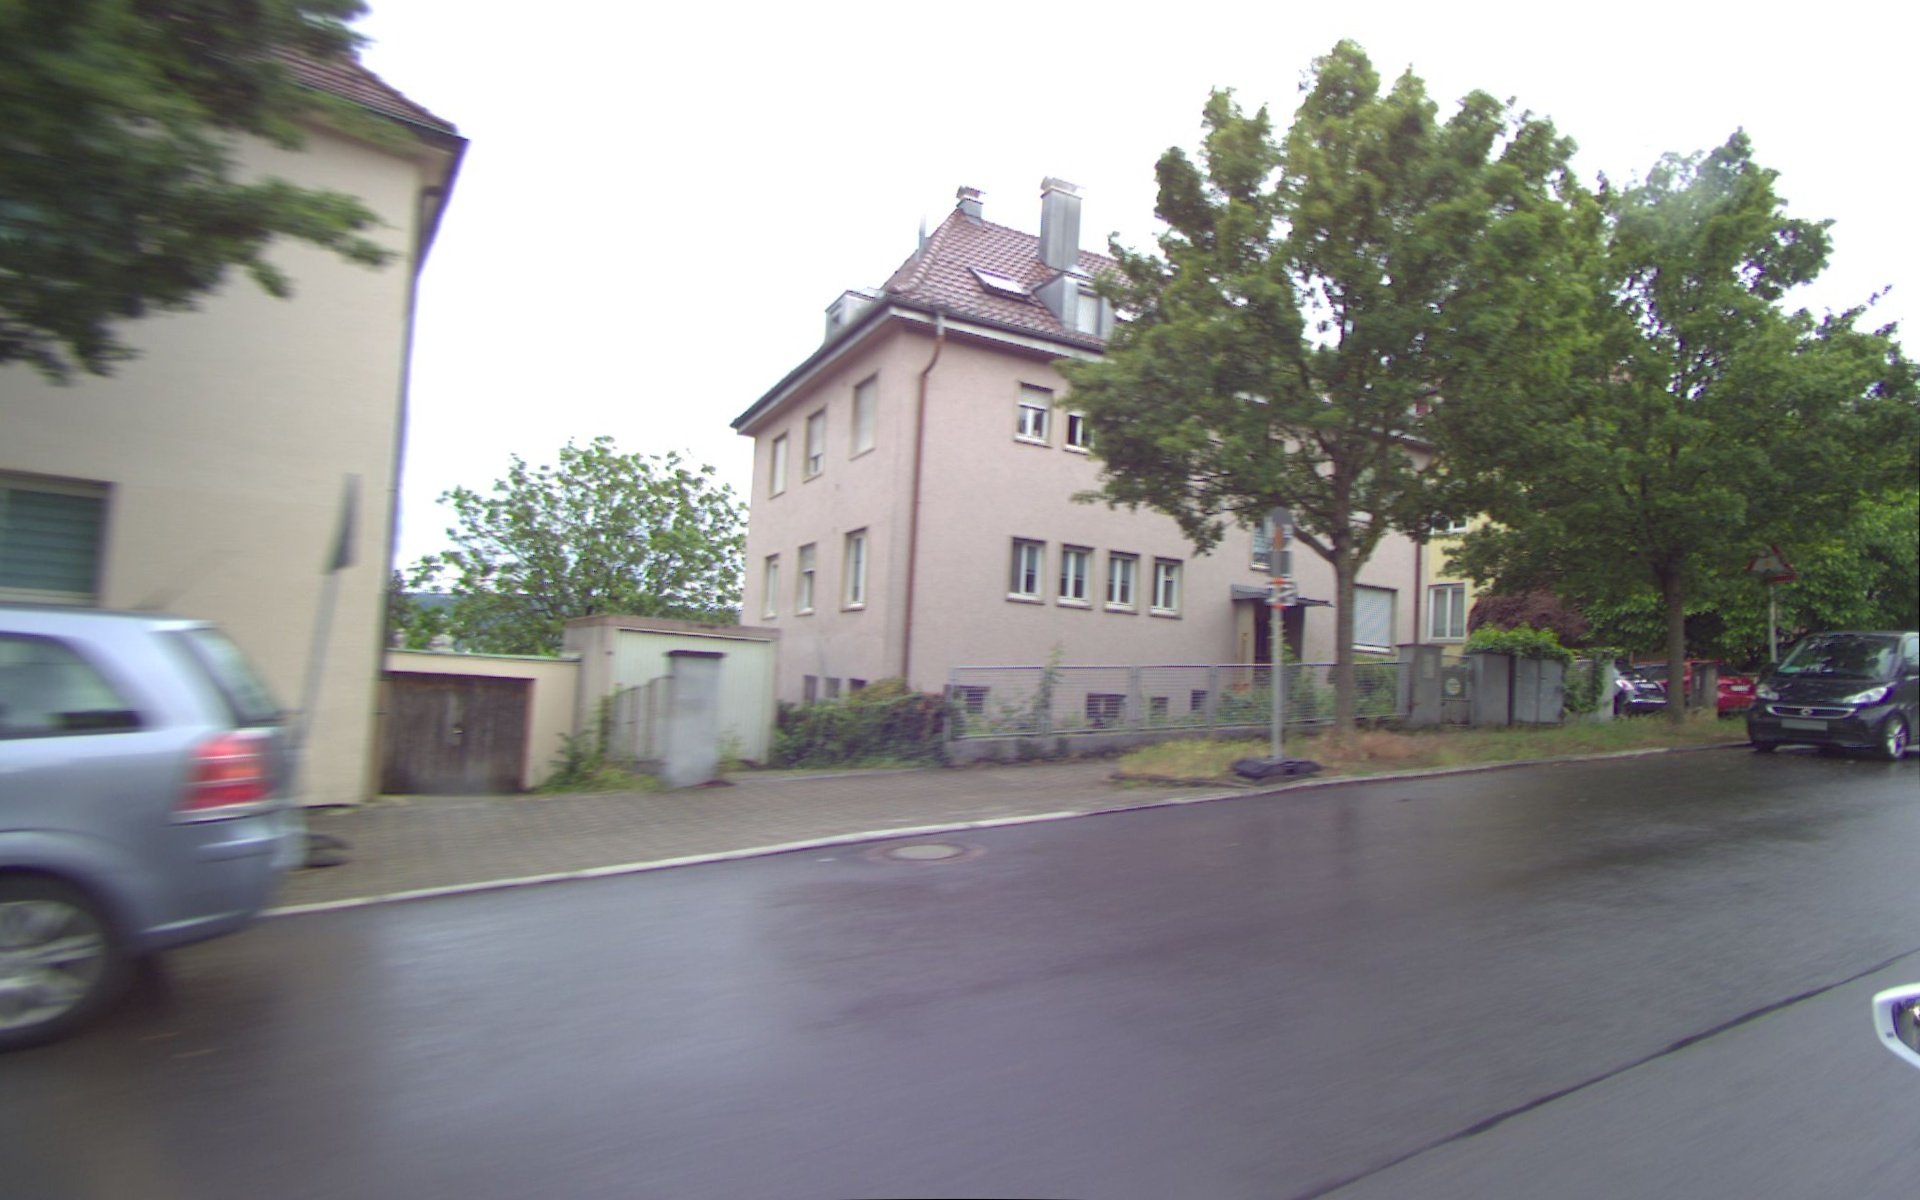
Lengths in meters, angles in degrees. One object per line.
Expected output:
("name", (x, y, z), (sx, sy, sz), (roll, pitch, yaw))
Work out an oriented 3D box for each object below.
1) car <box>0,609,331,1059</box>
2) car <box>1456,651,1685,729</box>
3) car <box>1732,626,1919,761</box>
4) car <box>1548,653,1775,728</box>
("car", (-4.821, 0.829, 3.621), (4.247, 1.565, 1.709), (2, -5, -32))
("car", (13.212, 2.039, 22.030), (1.801, 1.377, 3.916), (2, -10, -22))
("car", (11.619, 1.137, 12.958), (2.998, 1.555, 1.512), (2, -2, -27))
("car", (16.144, 2.166, 23.361), (1.753, 1.411, 3.916), (2, -10, -22))
